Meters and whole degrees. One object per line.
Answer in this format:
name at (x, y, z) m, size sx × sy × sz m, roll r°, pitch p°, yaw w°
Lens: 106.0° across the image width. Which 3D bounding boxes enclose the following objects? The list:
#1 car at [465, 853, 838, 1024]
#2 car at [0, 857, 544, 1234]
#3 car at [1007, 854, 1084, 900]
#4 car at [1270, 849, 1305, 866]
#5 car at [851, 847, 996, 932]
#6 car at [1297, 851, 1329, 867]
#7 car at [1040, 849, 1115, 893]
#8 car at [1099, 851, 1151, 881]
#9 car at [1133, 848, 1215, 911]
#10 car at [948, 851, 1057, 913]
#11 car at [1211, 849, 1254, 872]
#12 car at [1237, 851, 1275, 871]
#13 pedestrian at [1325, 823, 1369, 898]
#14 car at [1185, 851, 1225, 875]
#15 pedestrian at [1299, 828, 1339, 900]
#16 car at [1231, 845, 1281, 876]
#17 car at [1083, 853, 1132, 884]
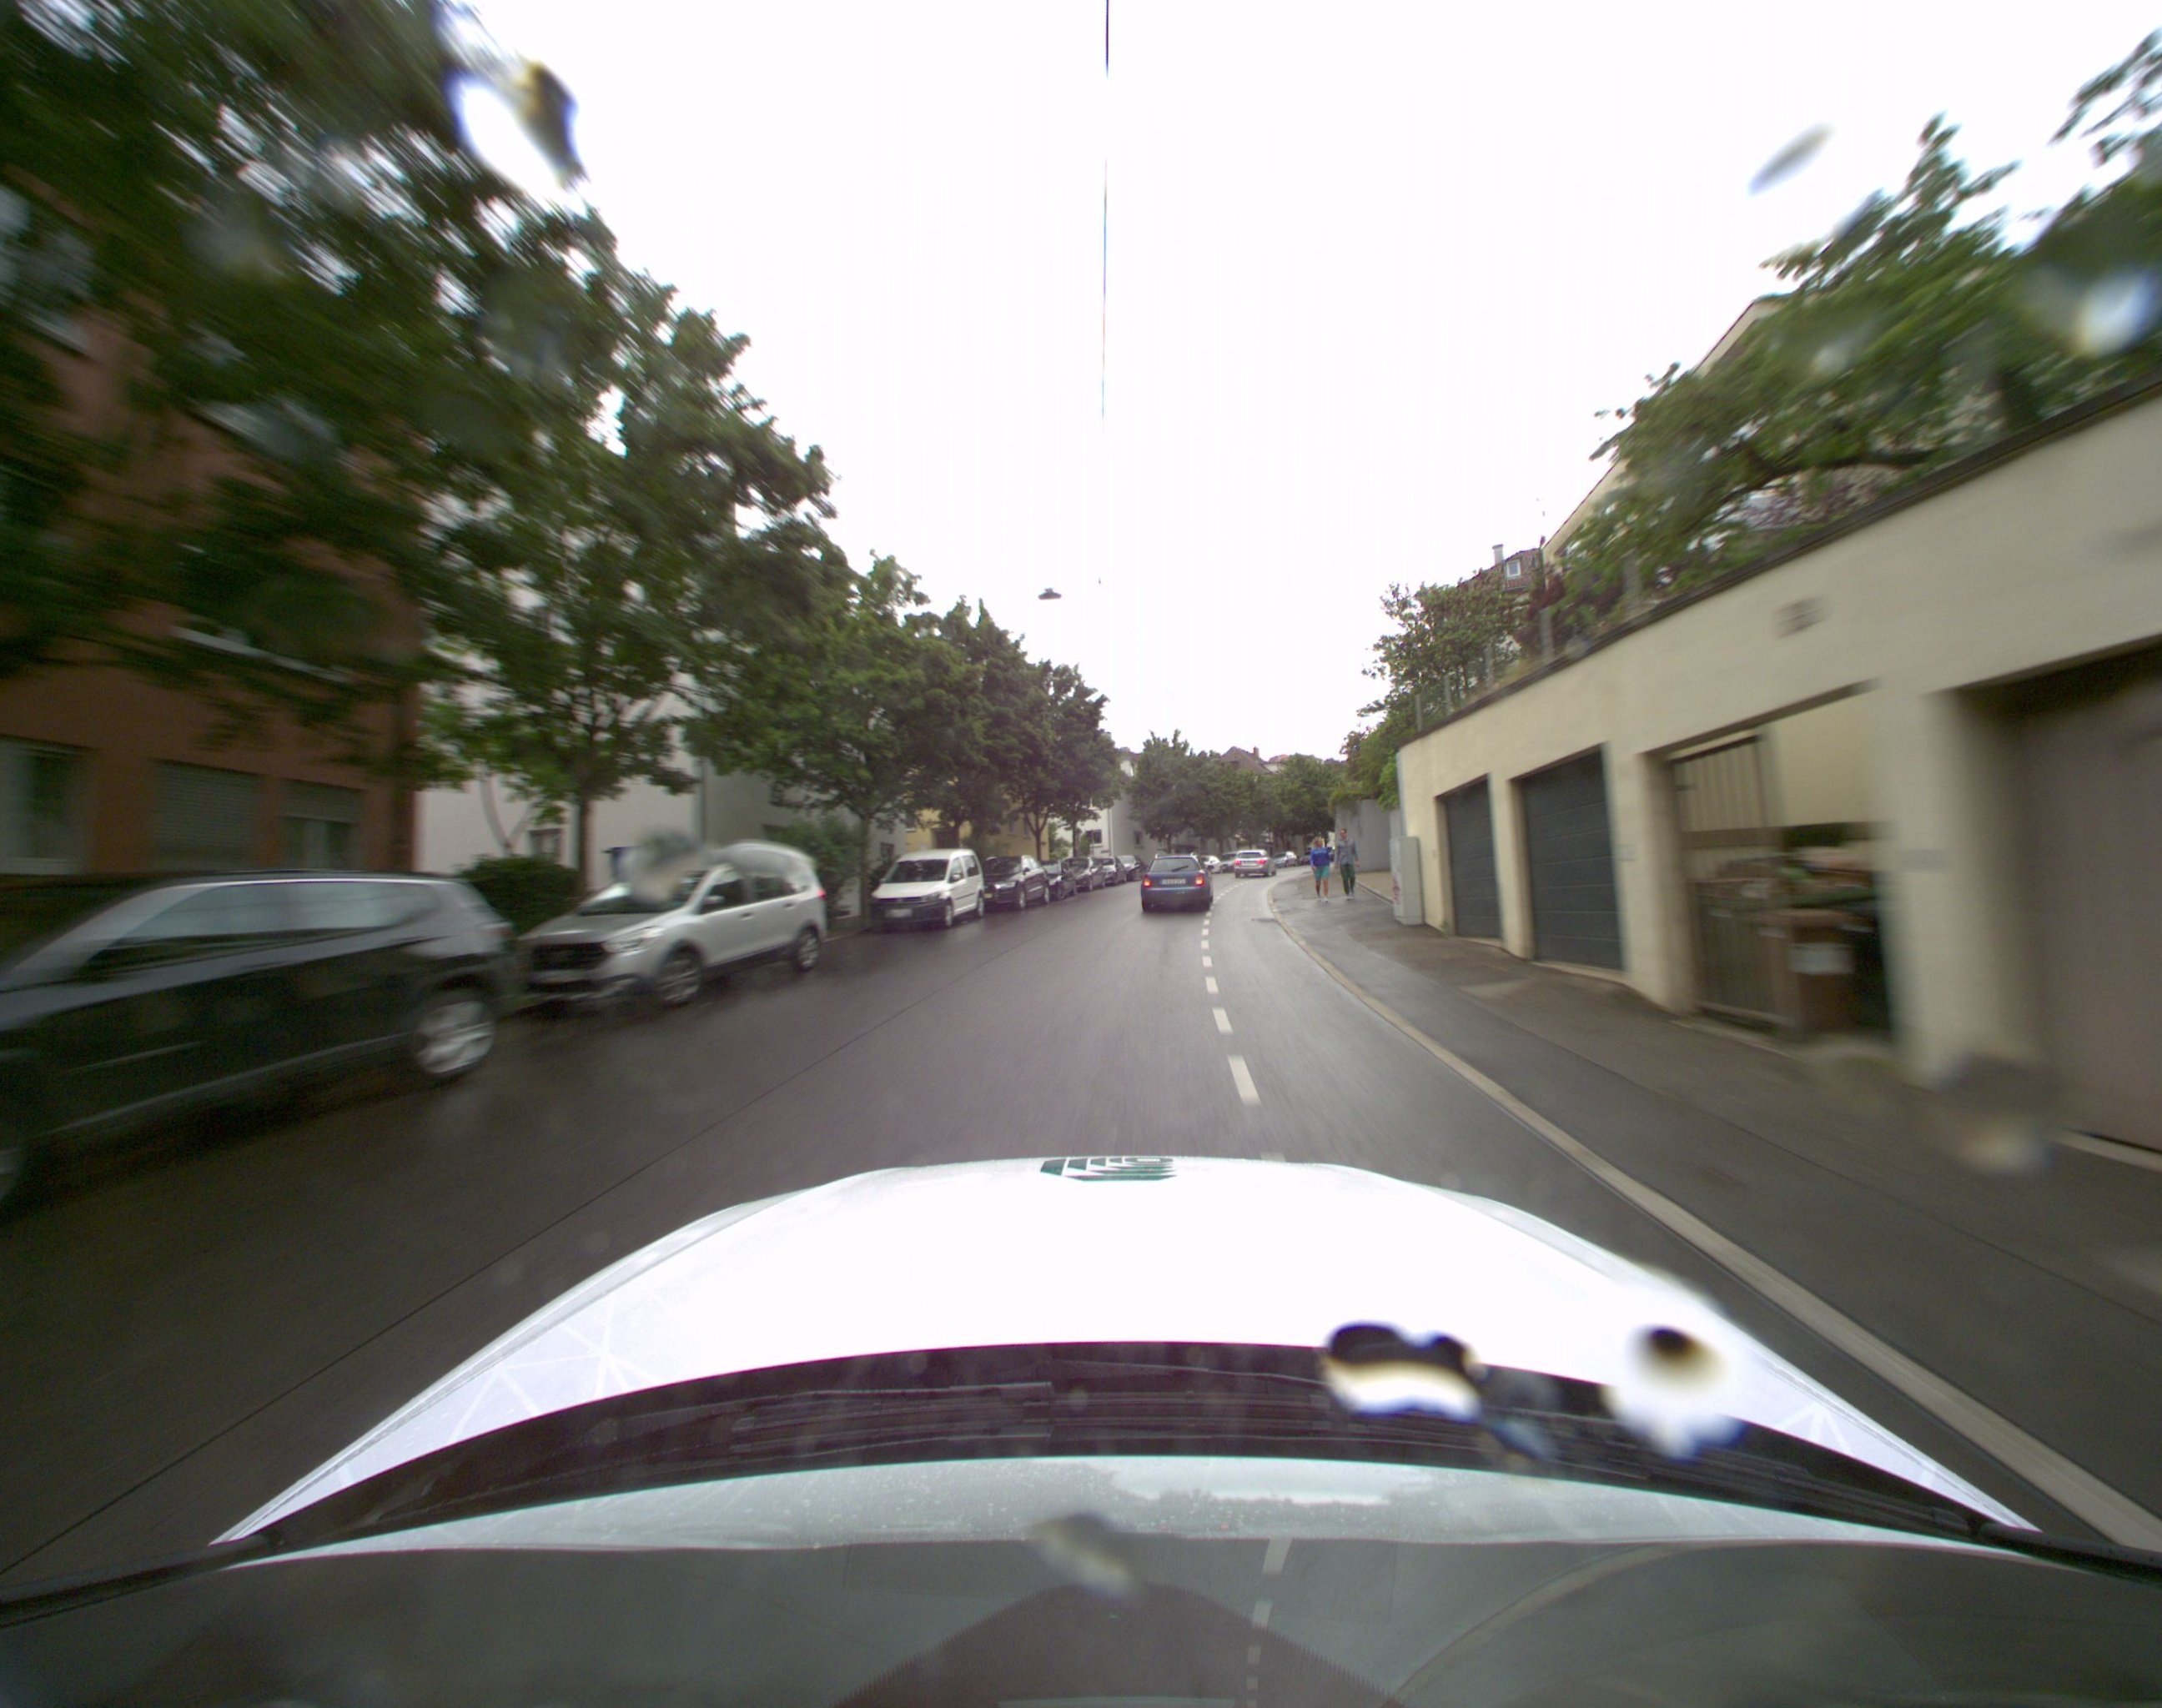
car at (-5.066, 0.865, 10.527) m, size 1.736 × 1.690 × 4.613 m, roll -2°, pitch 0°, yaw 10°
car at (-5.562, 0.876, 4.617) m, size 1.779 × 1.641 × 4.485 m, roll -2°, pitch 0°, yaw 4°
car at (-1.214, 0.781, 30.131) m, size 1.843 × 1.498 × 4.753 m, roll -2°, pitch 0°, yaw 9°
car at (18.926, 0.294, 74.472) m, size 1.787 × 1.453 × 4.625 m, roll -3°, pitch -2°, yaw 32°
car at (-3.618, 0.758, 19.701) m, size 1.842 × 1.777 × 4.496 m, roll -2°, pitch 0°, yaw 11°
car at (23.889, 0.538, 83.845) m, size 1.787 × 1.552 × 4.830 m, roll -3°, pitch -2°, yaw 32°
car at (-0.065, 0.688, 35.527) m, size 1.839 × 1.690 × 4.577 m, roll -2°, pitch 0°, yaw 19°
car at (2.537, 0.653, 45.625) m, size 1.761 × 1.540 × 4.538 m, roll -2°, pitch -1°, yaw 18°
car at (2.602, 0.609, 21.840) m, size 1.842 × 1.414 × 4.373 m, roll -4°, pitch -1°, yaw 10°
car at (-2.269, 0.778, 24.967) m, size 1.841 × 1.668 × 4.604 m, roll -3°, pitch -1°, yaw 13°
car at (12.161, 0.498, 65.326) m, size 1.767 × 1.646 × 4.373 m, roll -7°, pitch -4°, yaw 32°
car at (15.072, 0.587, 70.110) m, size 1.787 × 1.486 × 4.262 m, roll -7°, pitch -4°, yaw 31°
pedestrian at (6.834, 0.174, 20.974) m, size 0.771 × 1.832 × 1.254 m, roll -4°, pitch -1°, yaw 10°
car at (9.275, 0.674, 60.529) m, size 1.768 × 1.514 × 4.369 m, roll -7°, pitch -4°, yaw 23°
pedestrian at (6.134, 0.263, 21.053) m, size 0.770 × 1.758 × 1.014 m, roll -4°, pitch -1°, yaw 10°
car at (9.566, 0.340, 44.345) m, size 1.933 × 1.561 × 4.286 m, roll -1°, pitch 1°, yaw 22°
car at (1.366, 0.697, 40.635) m, size 1.603 × 1.396 × 4.337 m, roll -3°, pitch 0°, yaw 12°
